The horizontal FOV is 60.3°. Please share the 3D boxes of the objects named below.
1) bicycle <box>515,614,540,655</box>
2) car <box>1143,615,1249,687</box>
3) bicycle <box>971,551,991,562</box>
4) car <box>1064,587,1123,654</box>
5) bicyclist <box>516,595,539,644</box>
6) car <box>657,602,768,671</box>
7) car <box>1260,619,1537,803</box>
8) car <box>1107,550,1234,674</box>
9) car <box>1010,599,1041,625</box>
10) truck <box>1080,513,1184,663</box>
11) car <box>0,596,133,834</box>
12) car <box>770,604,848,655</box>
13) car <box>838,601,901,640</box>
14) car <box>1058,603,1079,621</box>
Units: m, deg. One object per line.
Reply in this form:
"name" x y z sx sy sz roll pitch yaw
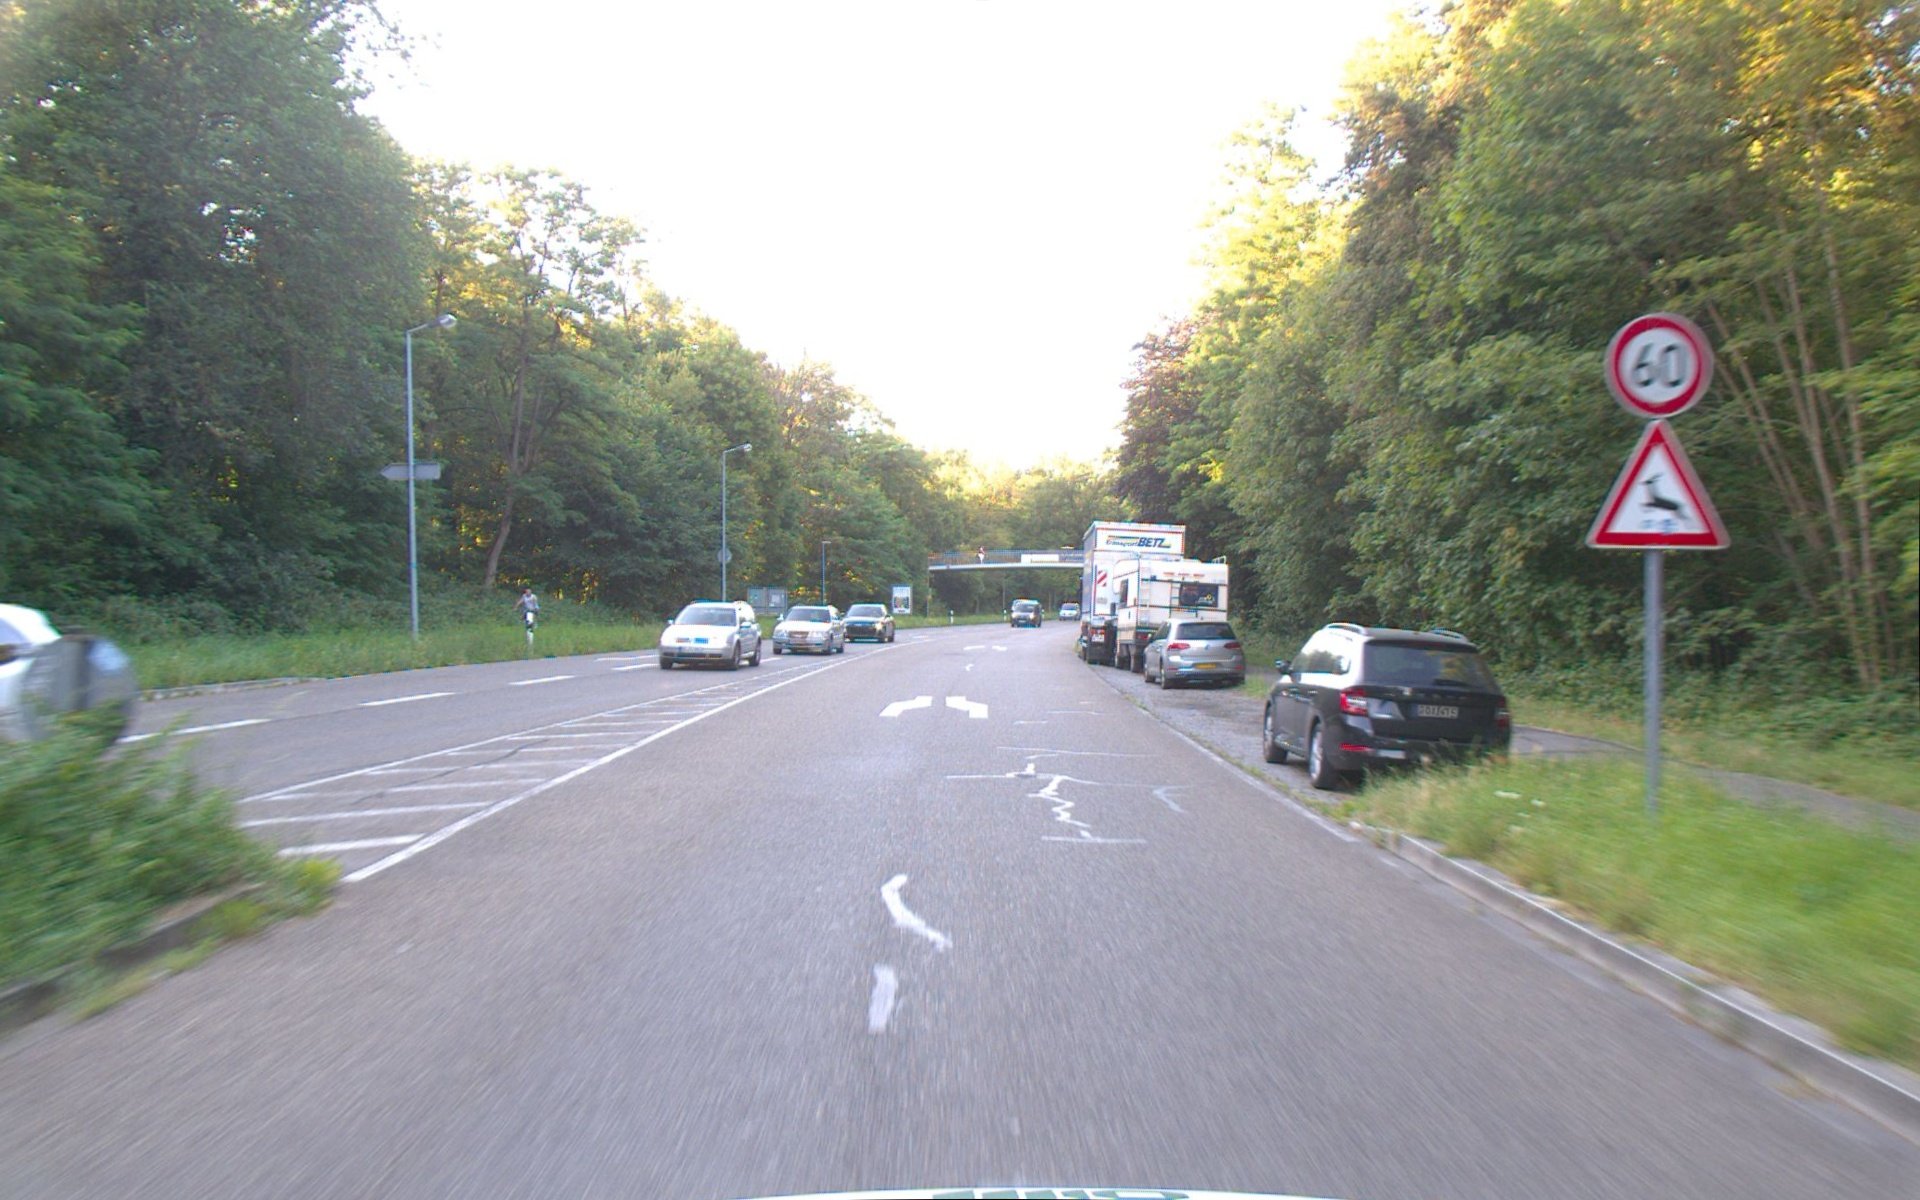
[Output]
"bicycle" -13.581 1.075 51.973 0.619 1.239 2.255 0 0 -11
"car" 4.992 1.052 35.461 1.663 1.430 4.075 0 0 -1
"bicycle" 1.962 -4.110 157.234 1.805 0.965 0.551 1 0 10
"car" 4.764 0.700 59.652 1.952 2.227 4.930 3 0 4
"bicyclist" -13.591 0.606 51.990 0.609 1.537 0.845 -1 1 -12
"car" -5.529 0.789 37.419 1.680 1.471 4.175 0 0 3
"car" 4.027 0.952 15.815 1.629 1.430 3.943 3 0 1
"car" 5.273 0.297 42.324 2.359 2.908 5.931 1 0 -1
"car" 4.808 0.854 121.466 1.804 1.831 4.751 1 0 8
"truck" 5.081 -0.326 50.373 2.602 4.098 9.725 1 0 3
"car" -7.112 0.738 10.324 1.798 1.534 3.938 -1 -2 2
"car" -4.445 0.858 49.336 1.684 1.422 4.376 0 0 3
"car" -3.516 0.784 65.206 1.852 1.465 4.772 1 0 4
"car" 11.066 1.199 168.918 1.804 1.766 4.003 1 0 8
